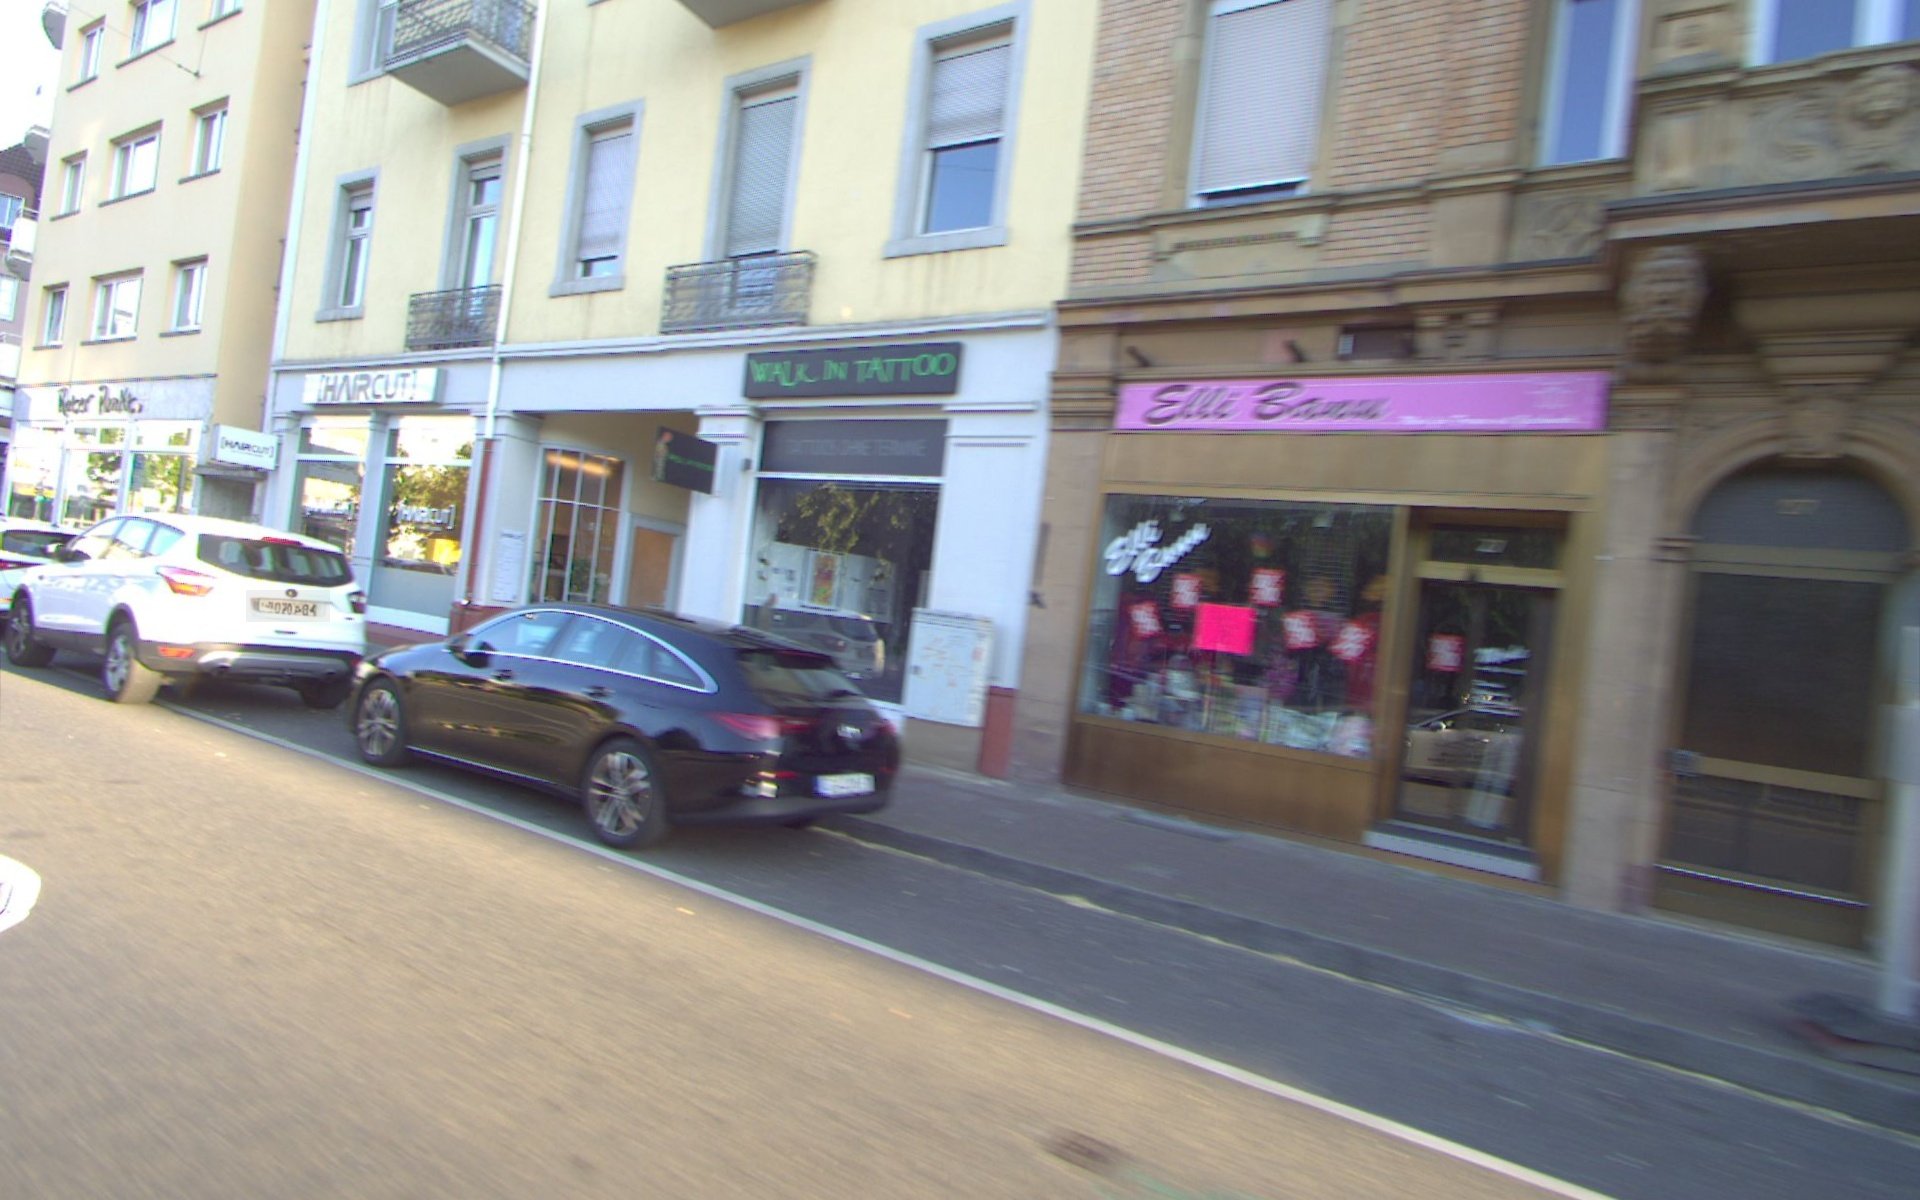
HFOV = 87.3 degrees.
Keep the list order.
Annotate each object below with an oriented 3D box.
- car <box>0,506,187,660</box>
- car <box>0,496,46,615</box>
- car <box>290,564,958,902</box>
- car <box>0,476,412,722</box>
[{"bbox_3d":[-12.491,-0.382,13.263,4.789,1.561,2.019,8,-1,32],"label":"car"},{"bbox_3d":[-17.025,-0.982,16.397,4.334,1.783,1.871,8,-1,32],"label":"car"},{"bbox_3d":[-2.623,0.758,7.441,4.770,1.450,1.997,6,-2,32],"label":"car"},{"bbox_3d":[-7.794,-0.070,10.068,4.581,1.765,1.885,8,-1,32],"label":"car"}]
